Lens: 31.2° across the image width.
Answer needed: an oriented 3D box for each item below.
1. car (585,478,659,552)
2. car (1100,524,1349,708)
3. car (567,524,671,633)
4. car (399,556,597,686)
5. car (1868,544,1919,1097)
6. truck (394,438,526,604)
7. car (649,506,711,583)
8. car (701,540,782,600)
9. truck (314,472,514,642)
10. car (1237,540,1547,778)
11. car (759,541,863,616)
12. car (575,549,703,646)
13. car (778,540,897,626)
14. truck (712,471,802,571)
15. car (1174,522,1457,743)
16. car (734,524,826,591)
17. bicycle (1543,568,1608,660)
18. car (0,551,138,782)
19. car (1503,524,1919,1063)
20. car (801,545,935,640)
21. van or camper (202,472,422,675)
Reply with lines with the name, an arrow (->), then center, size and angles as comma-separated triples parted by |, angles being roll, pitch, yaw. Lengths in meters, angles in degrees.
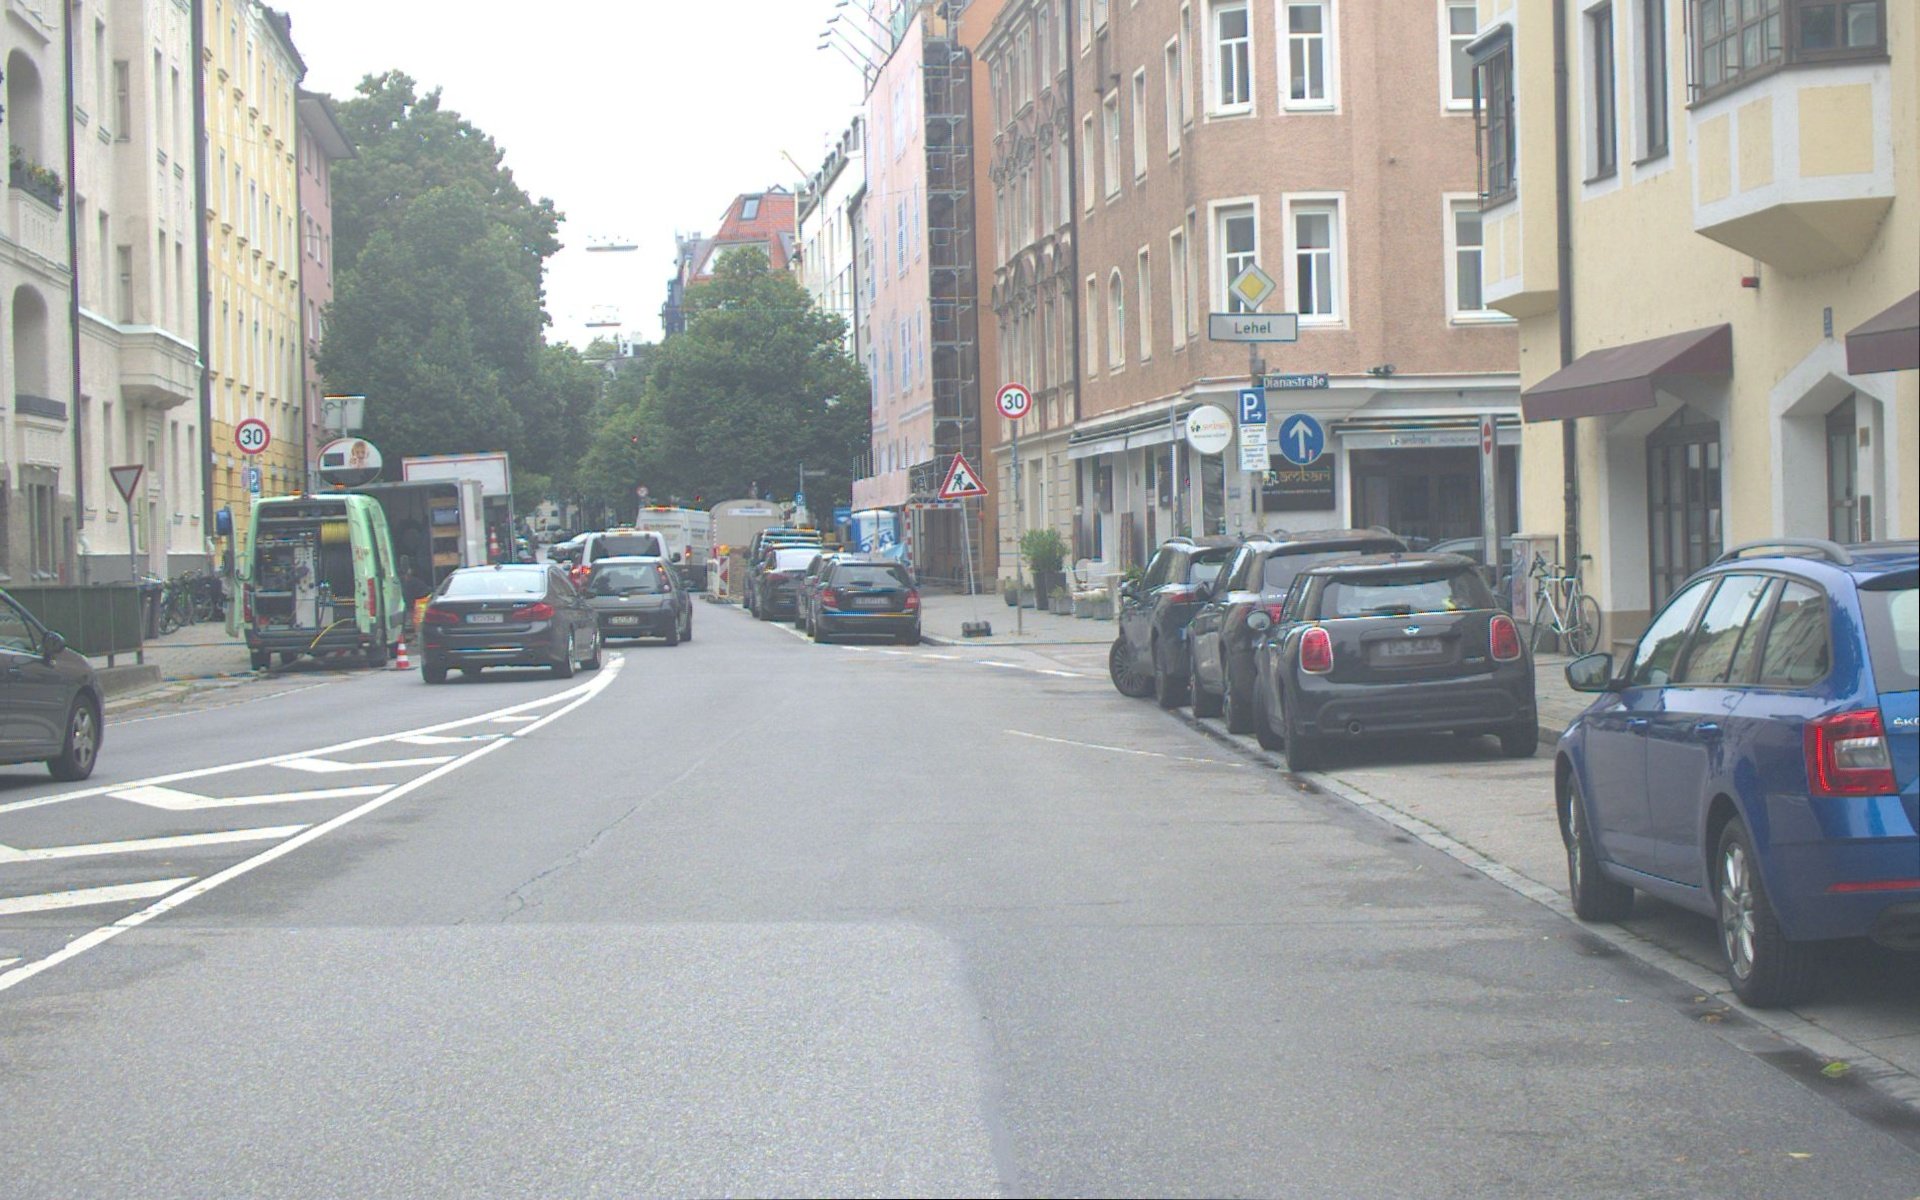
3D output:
car -> -9.638, -2.411, 97.991 | 1.993, 2.007, 4.001 | -2, 1, -6
car -> 2.619, 0.122, 35.071 | 1.818, 1.673, 4.511 | -3, 1, -4
car -> -6.921, -0.465, 70.056 | 1.990, 2.068, 4.141 | -1, 2, -5
car -> -5.857, 0.223, 44.162 | 1.990, 1.424, 4.906 | -1, 2, -2
car -> 3.456, 0.593, 7.370 | 1.690, 1.491, 4.434 | -3, 1, -1
truck -> -12.402, -1.949, 85.763 | 3.012, 3.938, 6.997 | -1, 1, -7
car -> -9.187, -1.828, 113.005 | 1.939, 2.472, 4.783 | -1, 1, -4
car -> -5.736, -0.808, 89.993 | 1.990, 1.424, 4.141 | -1, 2, -5
truck -> -9.866, -0.858, 62.805 | 2.773, 2.863, 7.203 | -1, 2, -3
car -> 3.016, 0.358, 24.679 | 1.756, 1.491, 3.823 | -3, 1, 1
car -> -3.173, -0.483, 72.376 | 1.844, 1.424, 4.307 | 1, 2, -7
car -> -5.272, -0.074, 56.706 | 1.990, 1.424, 4.141 | -1, 2, -5
car -> -2.308, -0.339, 63.764 | 1.844, 1.424, 4.141 | 1, 2, -7
truck -> -6.294, -2.428, 106.243 | 2.491, 2.963, 5.329 | -1, 1, -6
car -> 2.975, 0.216, 29.671 | 1.756, 1.673, 4.707 | -3, 1, -2
car -> -4.233, -1.013, 80.229 | 1.990, 1.424, 4.141 | -1, 2, -5
bicycle -> 6.715, 0.140, 37.529 | 0.271, 0.974, 1.685 | 0, 1, -5
car -> -6.944, 0.441, 22.394 | 1.759, 1.456, 4.073 | -1, 1, 7
car -> 3.232, 0.506, 12.128 | 1.756, 1.491, 4.488 | -3, 1, -1
car -> -1.583, -0.147, 57.782 | 1.844, 1.424, 4.185 | 1, 2, -7
van or camper -> -9.745, -0.482, 52.244 | 2.600, 2.830, 6.187 | -1, 2, -5
